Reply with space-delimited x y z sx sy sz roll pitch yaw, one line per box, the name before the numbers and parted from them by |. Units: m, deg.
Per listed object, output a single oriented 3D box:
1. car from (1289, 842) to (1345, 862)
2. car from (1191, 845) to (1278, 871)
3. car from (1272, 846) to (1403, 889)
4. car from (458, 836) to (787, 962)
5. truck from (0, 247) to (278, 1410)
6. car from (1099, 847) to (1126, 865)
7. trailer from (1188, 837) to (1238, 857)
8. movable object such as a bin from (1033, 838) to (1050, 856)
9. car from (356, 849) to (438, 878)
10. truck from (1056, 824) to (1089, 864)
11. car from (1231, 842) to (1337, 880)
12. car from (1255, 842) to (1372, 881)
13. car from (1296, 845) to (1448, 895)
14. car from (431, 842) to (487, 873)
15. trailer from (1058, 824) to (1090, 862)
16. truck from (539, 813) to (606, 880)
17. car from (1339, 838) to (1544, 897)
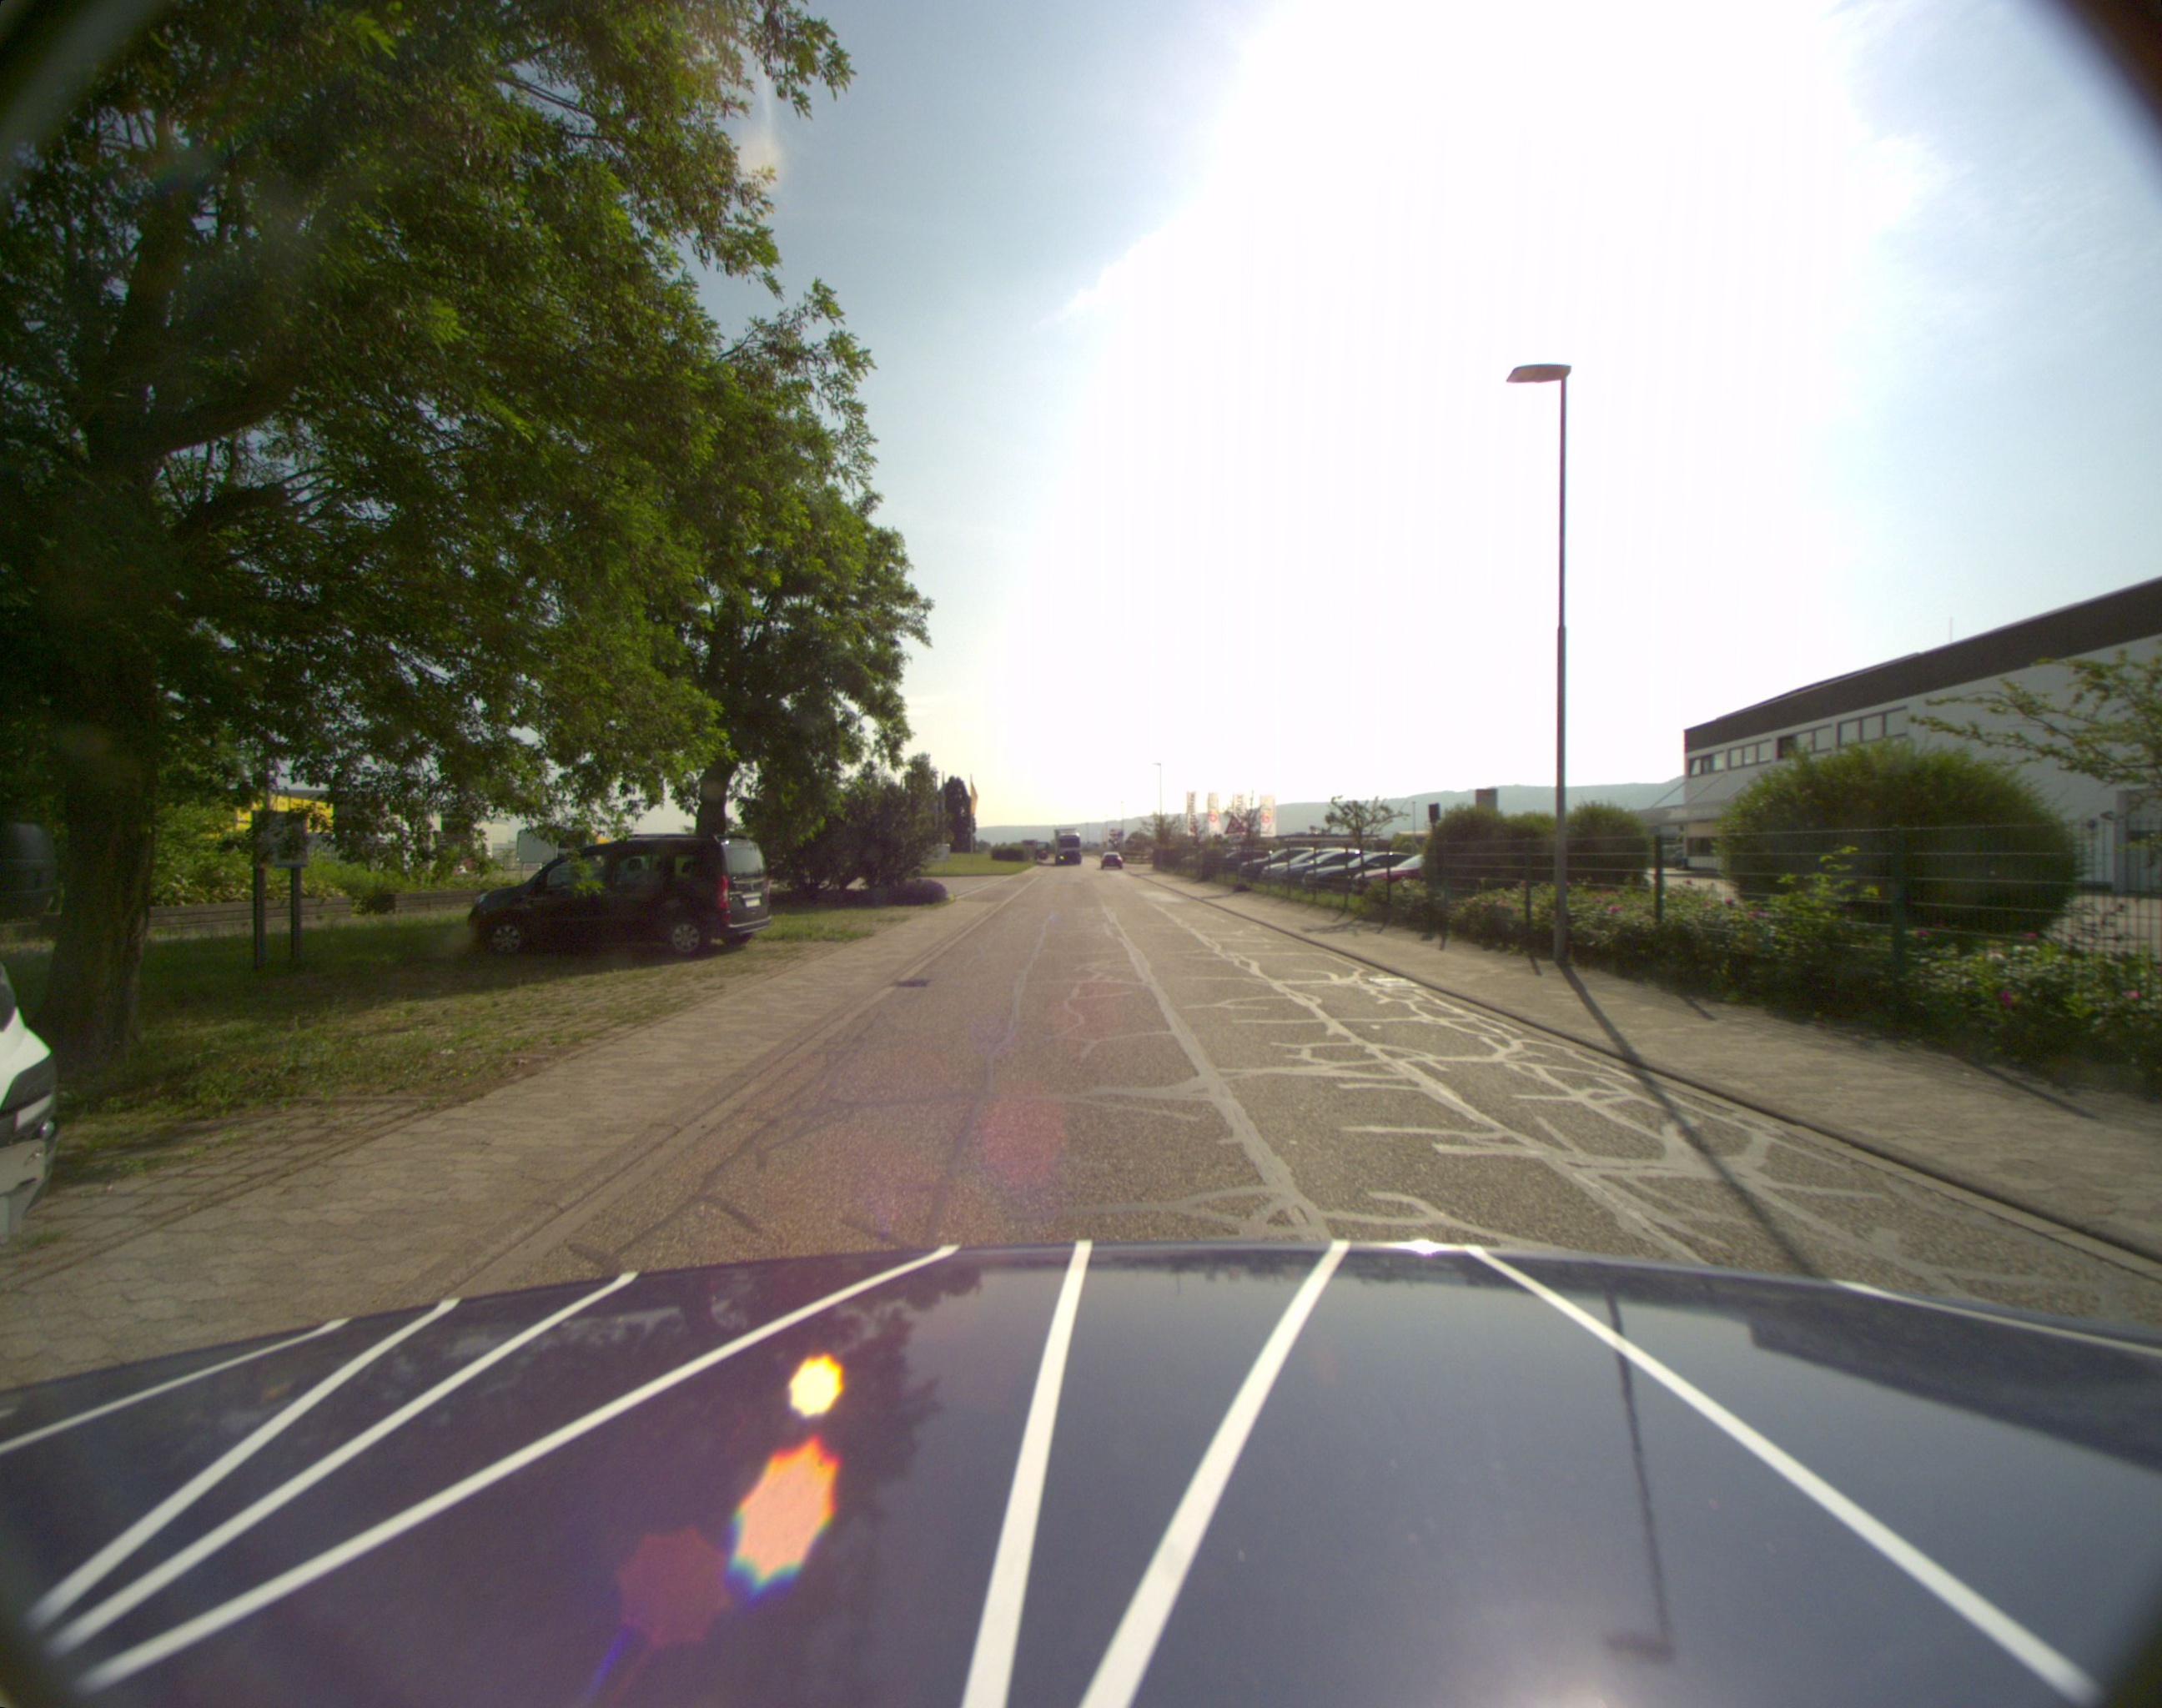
car | 21.383 -0.191 68.805 4.654 1.742 2.155 0 1 21
car | 9.085 0.236 45.263 4.698 1.436 2.078 1 1 -1
car | 9.167 0.456 27.403 4.051 1.436 1.873 1 1 -1
car | -7.072 0.652 12.088 3.997 1.827 2.000 0 1 1
truck | -7.216 -0.063 1.431 8.230 3.351 2.740 0 2 -1
car | 2.707 0.155 66.361 1.999 1.441 4.418 2 1 -2
trailer | 17.456 -0.953 100.559 6.315 2.590 2.857 1 1 13
movable object such as a bin | -6.690 -1.212 127.427 2.436 2.994 5.749 1 1 -8
car | -49.969 0.667 55.607 4.004 2.002 1.996 0 1 -22
truck | -0.920 -1.185 85.935 3.395 4.184 6.096 -2 2 0
car | 8.956 0.300 33.729 4.138 1.558 1.865 1 1 -1
car | 9.229 0.283 30.335 4.051 1.436 1.873 1 1 -1
car | 9.087 0.481 23.984 4.051 1.436 1.873 1 1 -1
car | -55.484 0.267 67.867 3.519 2.696 1.708 0 1 -22
trailer | -0.973 -1.407 93.134 3.498 4.183 14.227 -2 2 -1
truck | -31.520 -0.477 47.250 2.548 3.854 3.992 -3 2 -22
car | 9.530 0.339 20.358 4.548 1.436 1.952 1 1 -1
